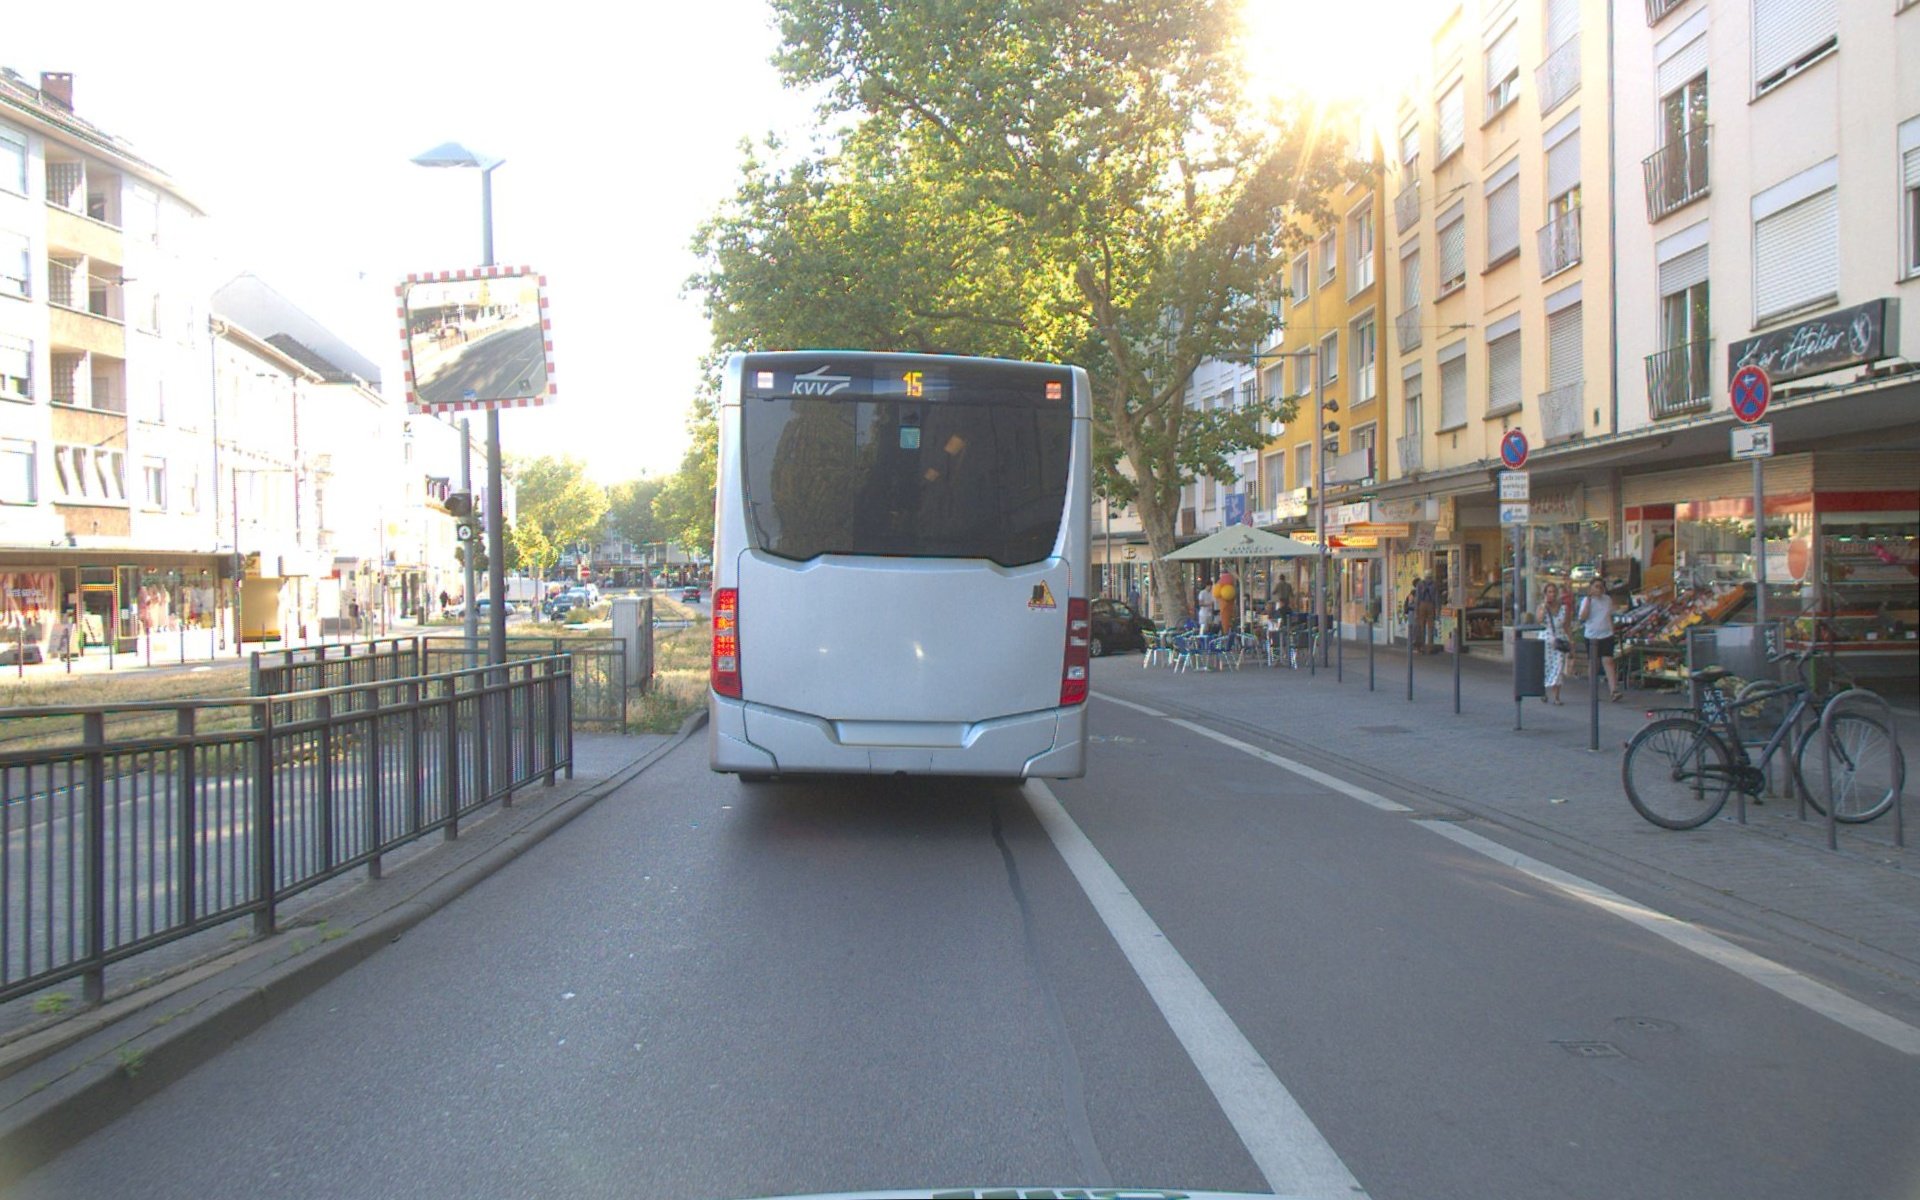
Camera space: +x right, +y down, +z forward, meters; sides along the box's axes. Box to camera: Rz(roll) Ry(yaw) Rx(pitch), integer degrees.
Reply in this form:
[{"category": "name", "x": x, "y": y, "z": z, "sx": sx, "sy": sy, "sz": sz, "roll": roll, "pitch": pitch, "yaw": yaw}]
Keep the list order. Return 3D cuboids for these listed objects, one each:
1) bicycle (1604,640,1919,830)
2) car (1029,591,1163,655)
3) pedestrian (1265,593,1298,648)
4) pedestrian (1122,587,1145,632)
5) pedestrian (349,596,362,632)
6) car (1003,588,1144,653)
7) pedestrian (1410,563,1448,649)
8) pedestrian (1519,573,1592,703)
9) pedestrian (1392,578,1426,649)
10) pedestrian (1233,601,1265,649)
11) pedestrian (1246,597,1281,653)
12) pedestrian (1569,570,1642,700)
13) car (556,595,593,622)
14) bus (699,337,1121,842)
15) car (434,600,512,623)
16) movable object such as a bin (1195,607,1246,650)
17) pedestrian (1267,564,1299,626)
[{"category": "bicycle", "x": 5.353, "y": 0.891, "z": 10.997, "sx": 1.867, "sy": 1.124, "sz": 0.518, "roll": -3, "pitch": 0, "yaw": 7}, {"category": "car", "x": 3.633, "y": 0.587, "z": 43.840, "sx": 1.711, "sy": 1.567, "sz": 3.586, "roll": -1, "pitch": 0, "yaw": 43}, {"category": "pedestrian", "x": 7.680, "y": 0.488, "z": 39.498, "sx": 0.572, "sy": 1.297, "sz": 0.758, "roll": 1, "pitch": 0, "yaw": -6}, {"category": "pedestrian", "x": 7.157, "y": 0.387, "z": 68.248, "sx": 0.765, "sy": 1.825, "sz": 0.763, "roll": -1, "pitch": 0, "yaw": -7}, {"category": "pedestrian", "x": -29.601, "y": 0.664, "z": 80.948, "sx": 0.417, "sy": 1.743, "sz": 0.508, "roll": -1, "pitch": 0, "yaw": -3}, {"category": "car", "x": 3.243, "y": 0.552, "z": 46.537, "sx": 1.778, "sy": 1.710, "sz": 4.125, "roll": -1, "pitch": 0, "yaw": 42}, {"category": "pedestrian", "x": 10.109, "y": 0.128, "z": 35.644, "sx": 0.623, "sy": 1.835, "sz": 0.626, "roll": -1, "pitch": 0, "yaw": 29}, {"category": "pedestrian", "x": 7.645, "y": 0.481, "z": 21.261, "sx": 0.622, "sy": 1.614, "sz": 0.626, "roll": -3, "pitch": 0, "yaw": -1}, {"category": "pedestrian", "x": 10.097, "y": 0.307, "z": 37.163, "sx": 0.612, "sy": 1.573, "sz": 0.637, "roll": -1, "pitch": 0, "yaw": 24}, {"category": "pedestrian", "x": 7.022, "y": 0.602, "z": 40.165, "sx": 0.572, "sy": 1.135, "sz": 0.750, "roll": 1, "pitch": 0, "yaw": -6}, {"category": "pedestrian", "x": 6.937, "y": 0.562, "z": 37.791, "sx": 0.594, "sy": 1.246, "sz": 0.744, "roll": -1, "pitch": 0, "yaw": -6}, {"category": "pedestrian", "x": 8.315, "y": 0.444, "z": 21.318, "sx": 0.609, "sy": 1.614, "sz": 0.626, "roll": -3, "pitch": 0, "yaw": -1}, {"category": "car", "x": -23.975, "y": 0.498, "z": 103.021, "sx": 1.689, "sy": 1.535, "sz": 3.472, "roll": -3, "pitch": 0, "yaw": -5}, {"category": "bus", "x": -0.467, "y": -0.095, "z": 13.890, "sx": 2.624, "sy": 3.137, "sz": 7.110, "roll": 0, "pitch": 1, "yaw": -3}, {"category": "car", "x": -32.082, "y": 0.751, "z": 109.050, "sx": 4.515, "sy": 1.437, "sz": 1.968, "roll": -1, "pitch": 0, "yaw": -43}, {"category": "movable object such as a bin", "x": 6.461, "y": 0.696, "z": 41.042, "sx": 0.916, "sy": 1.041, "sz": 0.832, "roll": 1, "pitch": 0, "yaw": -29}, {"category": "pedestrian", "x": 9.873, "y": -0.164, "z": 50.504, "sx": 0.692, "sy": 1.822, "sz": 0.788, "roll": -4, "pitch": 0, "yaw": -1}]
